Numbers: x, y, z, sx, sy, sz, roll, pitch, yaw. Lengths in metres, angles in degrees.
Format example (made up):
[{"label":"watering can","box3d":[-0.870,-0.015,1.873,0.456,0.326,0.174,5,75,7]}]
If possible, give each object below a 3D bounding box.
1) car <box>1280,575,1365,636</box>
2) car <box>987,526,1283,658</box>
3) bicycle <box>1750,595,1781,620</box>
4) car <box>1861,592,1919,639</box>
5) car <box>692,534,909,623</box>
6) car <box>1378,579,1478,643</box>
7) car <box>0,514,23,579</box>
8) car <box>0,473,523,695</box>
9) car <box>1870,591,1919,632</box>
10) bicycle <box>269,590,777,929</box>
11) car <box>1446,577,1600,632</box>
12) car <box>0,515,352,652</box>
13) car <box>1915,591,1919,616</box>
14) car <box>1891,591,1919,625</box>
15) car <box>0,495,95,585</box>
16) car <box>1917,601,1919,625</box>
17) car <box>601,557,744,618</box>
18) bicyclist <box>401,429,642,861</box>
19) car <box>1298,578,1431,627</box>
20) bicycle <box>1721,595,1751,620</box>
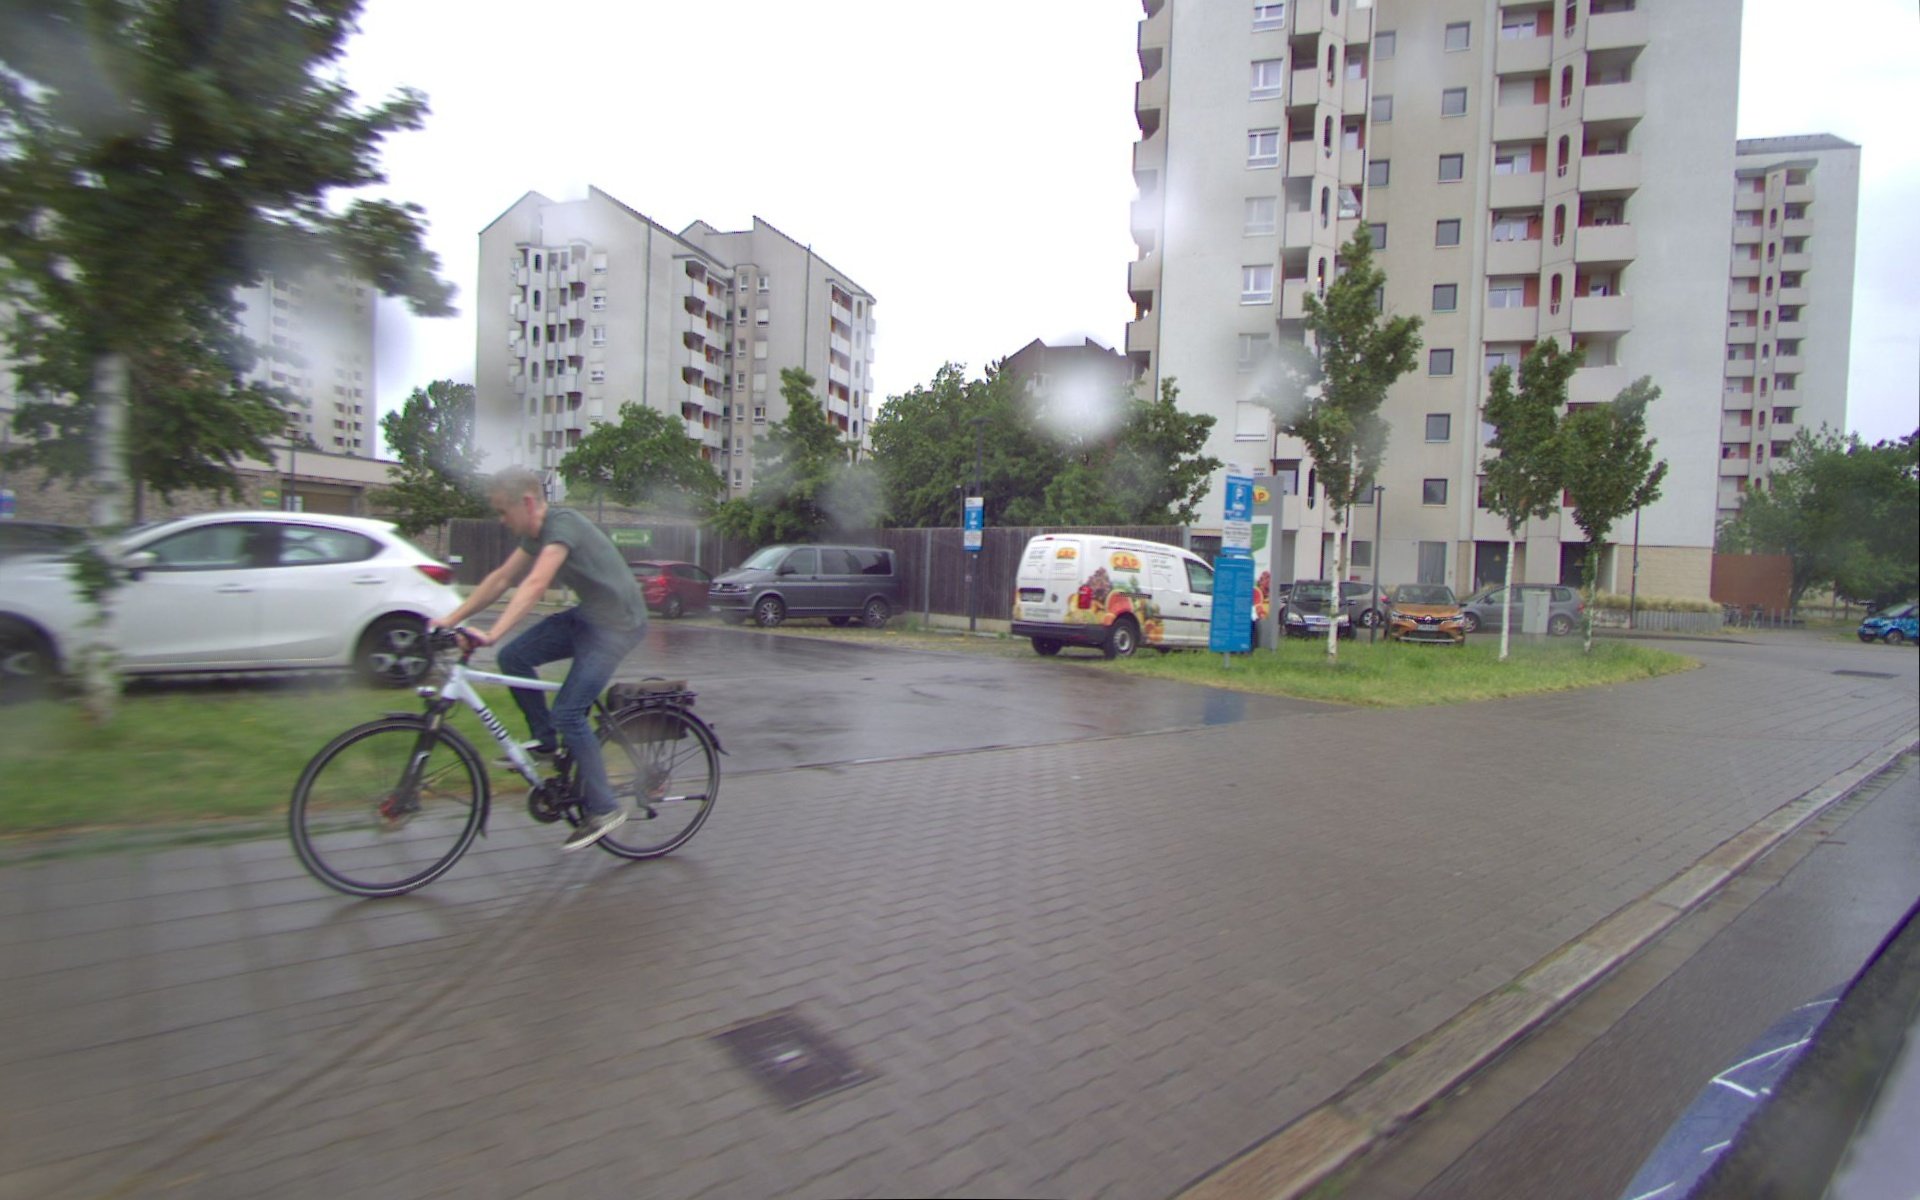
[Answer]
[{"label":"car","box3d":[9.734,0.088,27.127,1.976,1.459,3.974,1,2,21]},{"label":"car","box3d":[2.907,-0.104,16.194,4.808,1.806,1.968,1,1,-39]},{"label":"bicycle","box3d":[34.448,0.312,43.272,2.023,1.018,0.662,-1,2,-42]},{"label":"car","box3d":[34.437,0.587,36.361,2.523,1.567,1.600,2,2,9]},{"label":"car","box3d":[-3.716,-0.463,23.974,4.692,1.893,1.968,1,1,-39]},{"label":"car","box3d":[11.902,0.216,25.975,1.976,1.459,3.974,1,2,21]},{"label":"car","box3d":[-24.613,-1.315,23.101,1.944,1.554,4.338,2,1,18]},{"label":"car","box3d":[-6.279,-0.120,8.669,4.284,1.554,1.968,1,1,-39]},{"label":"car","box3d":[41.297,0.614,42.526,4.117,1.566,1.761,5,3,9]},{"label":"bicycle","box3d":[-1.708,0.524,4.259,0.536,1.106,1.919,2,2,42]},{"label":"car","box3d":[18.195,0.116,32.914,4.059,1.637,1.804,1,0,19]},{"label":"car","box3d":[-9.919,-0.192,12.630,1.964,1.465,3.605,2,1,44]},{"label":"car","box3d":[56.710,0.416,56.626,4.398,1.445,1.677,5,3,15]},{"label":"car","box3d":[51.550,0.608,52.491,4.391,1.691,1.808,5,3,11]},{"label":"car","box3d":[-17.840,-1.081,17.224,1.948,1.554,4.330,2,1,23]},{"label":"car","box3d":[50.685,0.651,50.280,4.122,1.691,1.679,5,3,12]},{"label":"car","box3d":[-7.424,-0.362,26.526,1.750,1.460,3.980,1,2,17]},{"label":"bicyclist","box3d":[-1.793,0.154,4.164,0.534,1.579,0.761,2,2,42]},{"label":"car","box3d":[13.690,0.067,34.506,4.059,1.553,1.804,1,0,19]},{"label":"bicycle","box3d":[33.811,0.325,44.092,2.023,1.018,0.662,-1,2,-42]}]
